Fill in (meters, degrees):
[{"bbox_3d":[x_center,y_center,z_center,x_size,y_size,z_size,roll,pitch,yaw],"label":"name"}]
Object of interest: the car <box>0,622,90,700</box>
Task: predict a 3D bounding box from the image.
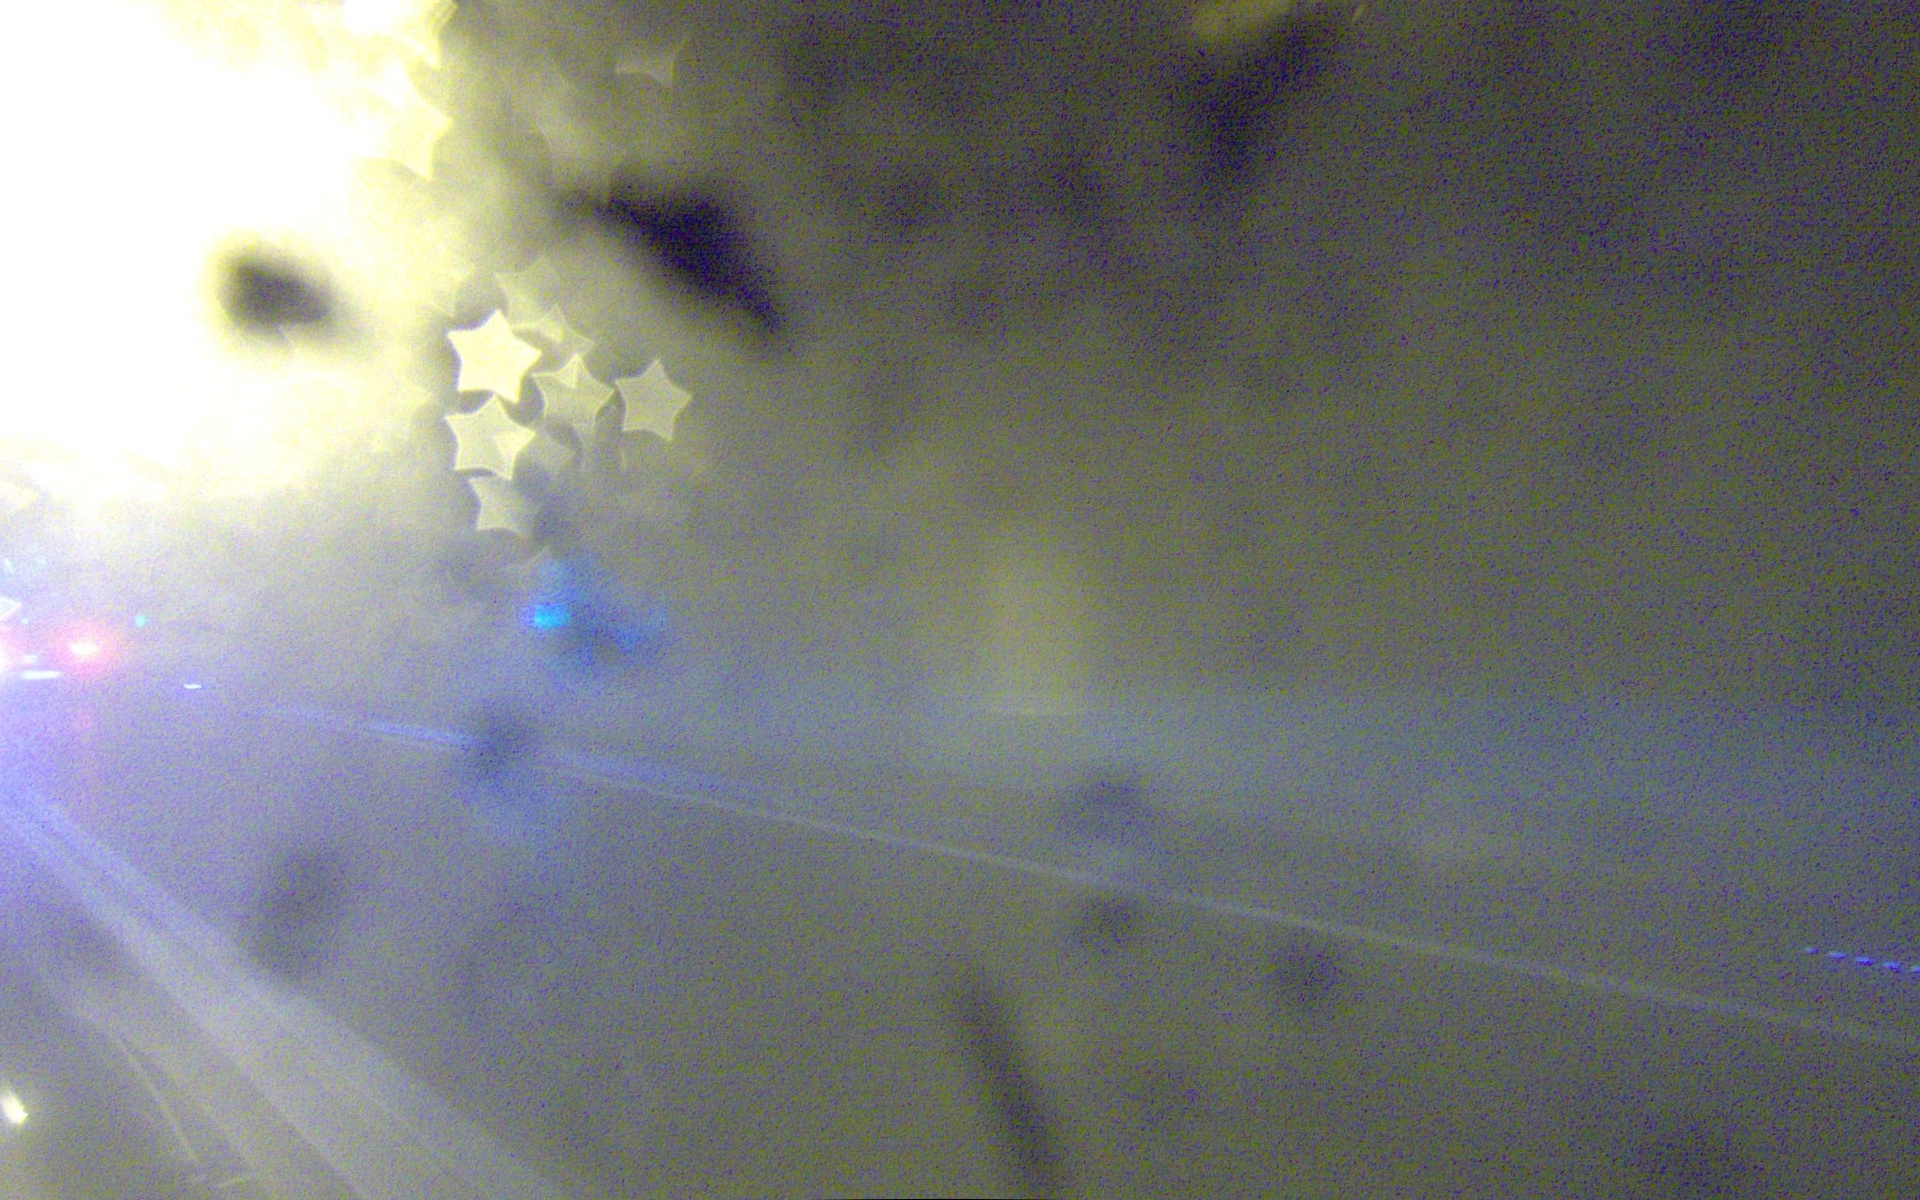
[{"bbox_3d":[-18.948,1.175,20.391,3.623,1.433,1.672,-2,-1,41],"label":"car"}]
